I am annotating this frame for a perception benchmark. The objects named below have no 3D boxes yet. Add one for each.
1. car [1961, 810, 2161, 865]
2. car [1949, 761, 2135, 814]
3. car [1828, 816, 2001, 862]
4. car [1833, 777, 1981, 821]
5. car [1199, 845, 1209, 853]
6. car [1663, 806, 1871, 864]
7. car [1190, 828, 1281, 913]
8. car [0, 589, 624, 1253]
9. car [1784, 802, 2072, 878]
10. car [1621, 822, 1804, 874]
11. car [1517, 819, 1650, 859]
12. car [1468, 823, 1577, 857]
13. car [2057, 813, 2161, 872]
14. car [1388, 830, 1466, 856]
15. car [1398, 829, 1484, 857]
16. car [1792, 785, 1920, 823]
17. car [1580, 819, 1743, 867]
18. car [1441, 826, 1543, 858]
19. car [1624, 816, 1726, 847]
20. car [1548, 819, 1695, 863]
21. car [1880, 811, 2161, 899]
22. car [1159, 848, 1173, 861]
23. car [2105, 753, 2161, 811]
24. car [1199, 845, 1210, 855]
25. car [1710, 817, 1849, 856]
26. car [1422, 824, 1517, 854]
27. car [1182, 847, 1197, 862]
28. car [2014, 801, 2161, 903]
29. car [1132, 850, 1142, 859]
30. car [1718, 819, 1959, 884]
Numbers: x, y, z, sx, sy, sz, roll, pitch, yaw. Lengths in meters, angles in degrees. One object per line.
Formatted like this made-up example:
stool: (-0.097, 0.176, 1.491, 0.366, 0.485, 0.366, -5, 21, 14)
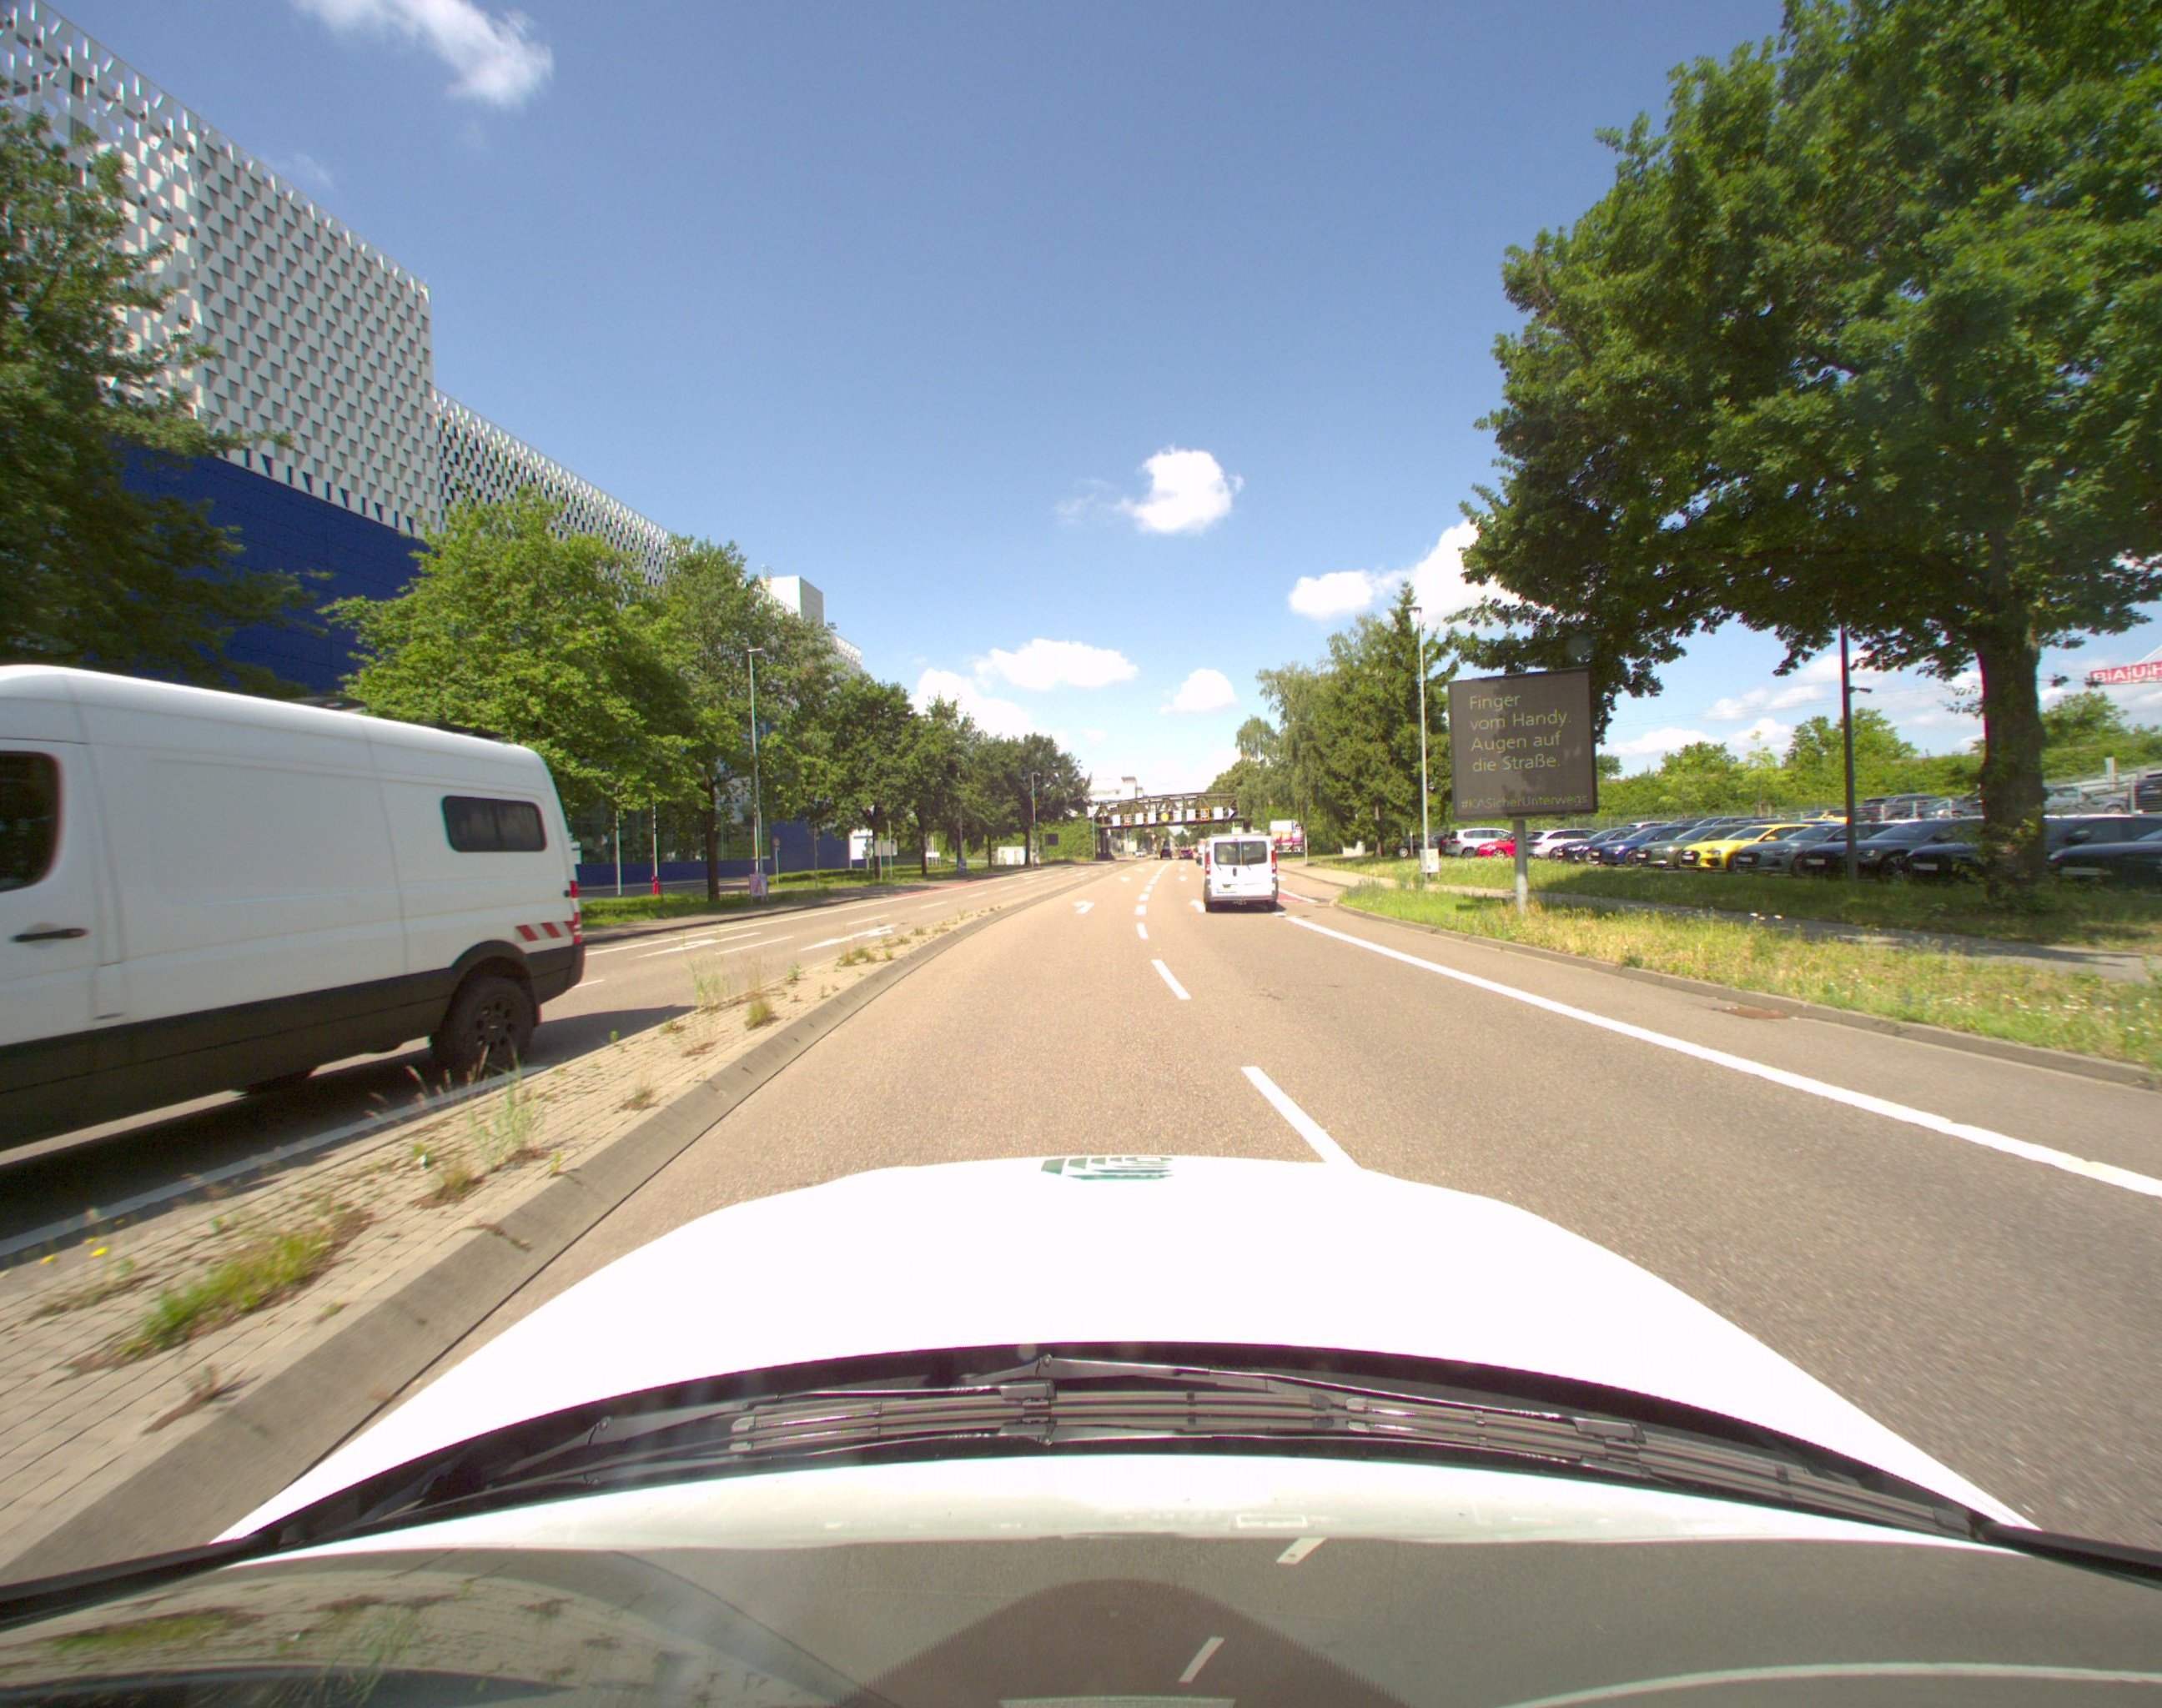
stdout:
car: (30.692, -0.504, 25.322, 4.323, 1.498, 1.911, -2, 0, 6)
car: (36.246, -2.463, 30.844, 4.328, 1.774, 1.942, -1, 2, 10)
car: (31.412, -0.559, 30.816, 4.323, 1.498, 1.911, -2, 0, 6)
car: (36.547, -2.414, 36.148, 4.328, 1.774, 1.942, -1, 2, 10)
car: (27.049, -1.039, 179.300, 1.981, 1.709, 4.109, -2, 0, 11)
car: (19.809, -0.560, 23.698, 4.333, 1.512, 1.939, -1, 2, 5)
car: (4.155, 0.353, 22.563, 1.963, 2.059, 4.571, -2, 1, 5)
car: (-5.656, 0.311, 4.707, 2.014, 2.893, 6.388, -2, 0, 3)
car: (18.960, -0.336, 18.424, 4.333, 1.512, 1.939, -1, 2, 5)
car: (20.181, -0.214, 26.190, 4.333, 1.512, 1.939, -1, 2, 5)
car: (20.868, -0.643, 33.997, 4.333, 1.512, 1.939, -1, 2, 5)
car: (21.550, -0.690, 39.888, 4.333, 1.512, 1.939, -1, 2, 5)
car: (30.121, -0.378, 22.234, 4.323, 1.498, 1.911, -2, 0, 6)
car: (22.460, -0.748, 52.995, 4.333, 1.512, 1.939, -1, 2, 5)
car: (21.699, -0.698, 49.222, 4.333, 1.512, 1.939, -1, 2, 5)
car: (38.833, -2.486, 40.906, 4.328, 1.774, 1.942, -1, 2, 10)
car: (20.421, -0.416, 28.810, 4.333, 1.512, 1.939, -1, 2, 5)
car: (21.341, -0.661, 42.385, 4.333, 1.512, 1.939, -1, 2, 5)
car: (33.697, -1.261, 46.301, 4.323, 1.498, 1.911, -2, 0, 6)
car: (20.721, -0.521, 31.360, 4.333, 1.512, 1.939, -1, 2, 5)
car: (18.711, -0.013, 15.825, 4.333, 1.512, 1.939, -1, 2, 5)
car: (13.265, 0.013, 126.973, 1.982, 1.771, 4.010, -1, 2, 8)
car: (35.735, -2.325, 25.549, 4.328, 1.774, 1.942, -1, 2, 10)
car: (31.773, -1.090, 209.552, 2.362, 2.475, 4.778, -2, 0, 12)
car: (30.632, -0.750, 35.831, 4.323, 1.498, 1.911, -2, 0, 6)
car: (21.392, -0.836, 44.969, 4.333, 1.512, 1.939, -1, 2, 5)
car: (15.318, 0.027, 115.003, 1.983, 2.013, 4.009, -2, 0, 7)
car: (18.296, -0.112, 13.018, 4.333, 1.512, 1.939, -1, 2, 5)
car: (12.995, 0.037, 188.790, 1.982, 2.013, 4.011, -2, 0, 9)
car: (19.521, -0.087, 21.170, 4.333, 1.512, 1.939, -1, 2, 5)
